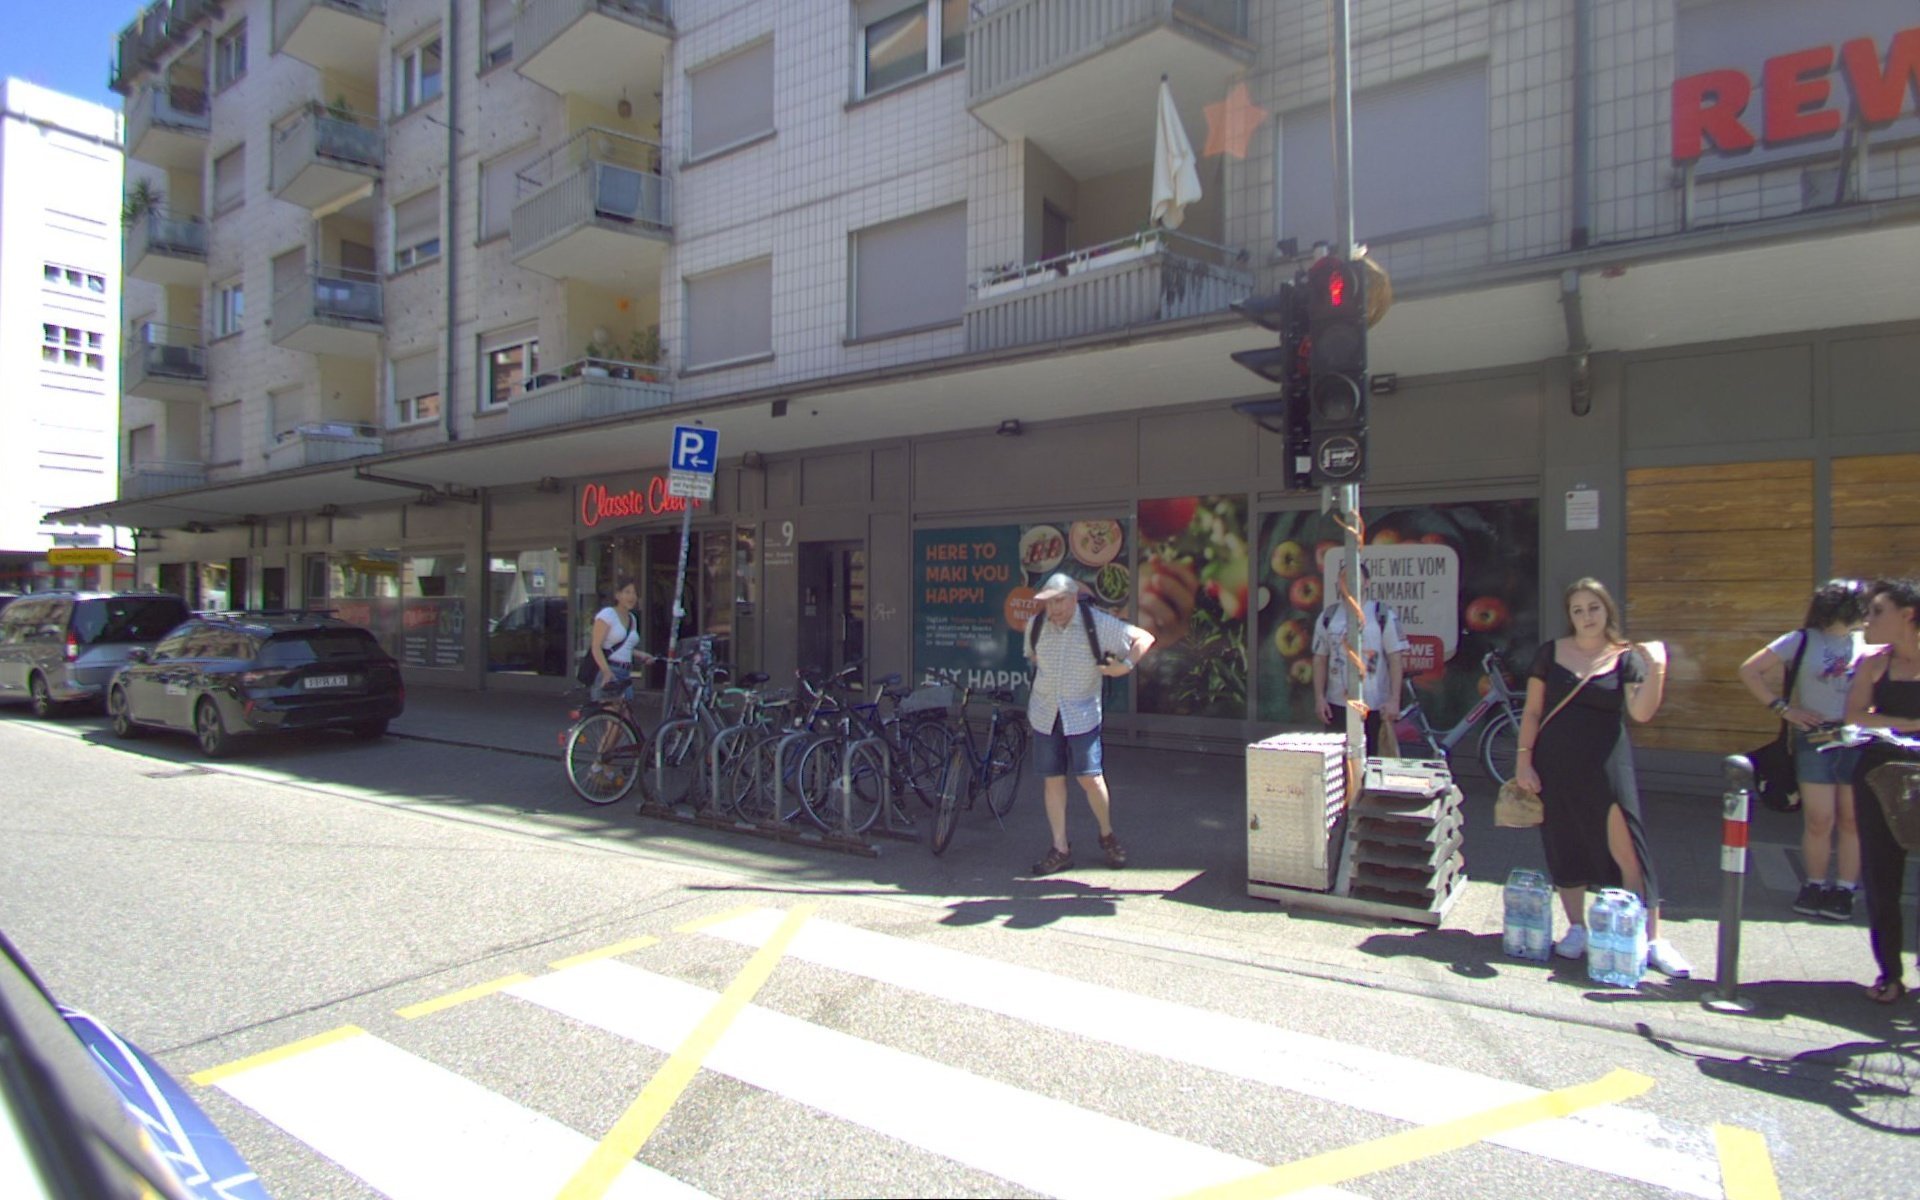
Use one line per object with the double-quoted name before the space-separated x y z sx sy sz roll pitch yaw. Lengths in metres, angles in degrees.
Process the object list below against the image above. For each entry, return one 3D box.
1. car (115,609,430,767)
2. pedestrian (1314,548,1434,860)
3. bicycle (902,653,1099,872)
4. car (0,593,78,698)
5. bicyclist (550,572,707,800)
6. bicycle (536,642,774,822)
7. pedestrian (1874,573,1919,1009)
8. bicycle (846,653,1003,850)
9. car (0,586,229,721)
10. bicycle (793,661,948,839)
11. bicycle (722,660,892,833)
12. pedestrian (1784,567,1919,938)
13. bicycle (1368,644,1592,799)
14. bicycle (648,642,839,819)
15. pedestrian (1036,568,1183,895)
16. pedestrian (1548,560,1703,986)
"car" -8.197 0.891 11.924 4.454 1.536 1.655 -1 0 36
"pedestrian" 2.529 0.598 6.181 0.598 1.784 0.505 0 -1 33
"bicycle" 0.333 0.983 6.741 0.575 1.131 1.786 0 1 29
"car" -18.675 0.818 19.239 4.889 1.843 1.773 -1 0 35
"bicyclist" -2.690 0.657 8.288 0.622 1.719 0.969 -2 2 29
"bicycle" -2.414 1.003 8.288 0.602 1.099 1.921 -3 3 29
"pedestrian" 3.733 0.684 3.669 0.489 1.577 0.461 -1 0 -29
"bicycle" -0.204 0.987 7.080 0.334 1.125 1.508 0 1 30
"car" -13.416 0.738 15.696 4.684 1.825 1.775 -1 0 33
"bicycle" -0.607 1.023 7.311 0.334 1.043 1.437 0 1 30
"bicycle" -1.090 1.025 7.514 0.396 1.038 1.483 0 1 30
"pedestrian" 4.321 0.681 4.775 0.598 1.645 0.505 0 -1 33
"bicycle" 3.833 0.882 7.540 1.420 1.094 0.320 -1 -1 17
"bicycle" -1.640 0.950 7.924 0.525 1.148 1.572 0 1 30
"pedestrian" 0.871 0.704 5.842 0.630 1.740 0.651 0 -1 33
"pedestrian" 2.803 0.673 4.290 0.510 1.645 0.536 0 -1 33
